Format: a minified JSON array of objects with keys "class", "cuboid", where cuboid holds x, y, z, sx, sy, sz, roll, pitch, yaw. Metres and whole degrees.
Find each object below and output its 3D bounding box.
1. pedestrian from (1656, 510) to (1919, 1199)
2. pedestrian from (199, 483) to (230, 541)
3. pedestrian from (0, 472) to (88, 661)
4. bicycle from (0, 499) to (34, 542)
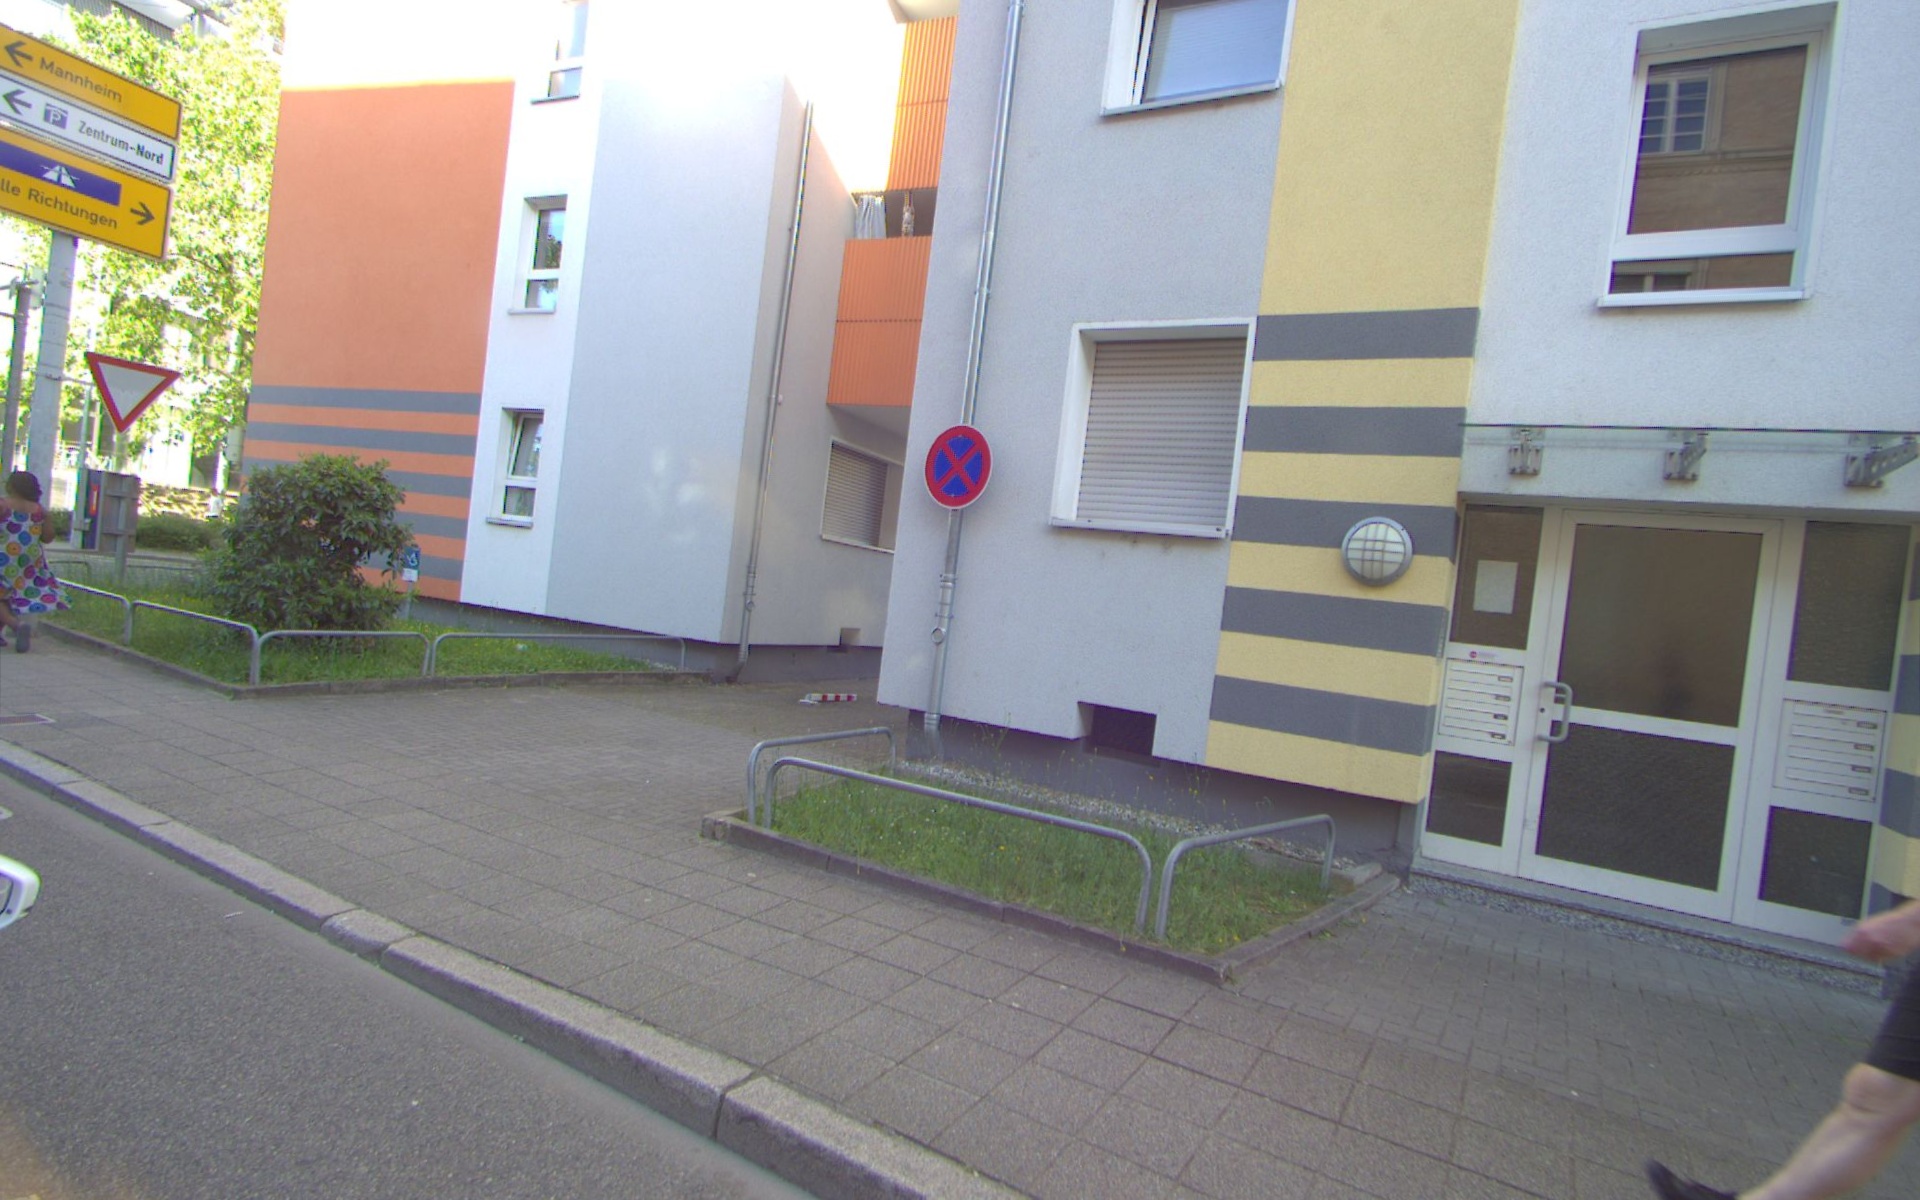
[{"class":"pedestrian","cuboid":[2.208,0.760,2.227,0.901,1.813,0.643,7,4,35]},{"class":"pedestrian","cuboid":[-25.385,-3.002,34.255,1.027,1.854,0.536,8,1,43]},{"class":"pedestrian","cuboid":[-8.342,-0.310,8.750,0.738,1.595,0.953,7,4,34]},{"class":"bicycle","cuboid":[-26.434,-2.246,27.292,1.883,1.062,0.463,7,1,-10]}]
